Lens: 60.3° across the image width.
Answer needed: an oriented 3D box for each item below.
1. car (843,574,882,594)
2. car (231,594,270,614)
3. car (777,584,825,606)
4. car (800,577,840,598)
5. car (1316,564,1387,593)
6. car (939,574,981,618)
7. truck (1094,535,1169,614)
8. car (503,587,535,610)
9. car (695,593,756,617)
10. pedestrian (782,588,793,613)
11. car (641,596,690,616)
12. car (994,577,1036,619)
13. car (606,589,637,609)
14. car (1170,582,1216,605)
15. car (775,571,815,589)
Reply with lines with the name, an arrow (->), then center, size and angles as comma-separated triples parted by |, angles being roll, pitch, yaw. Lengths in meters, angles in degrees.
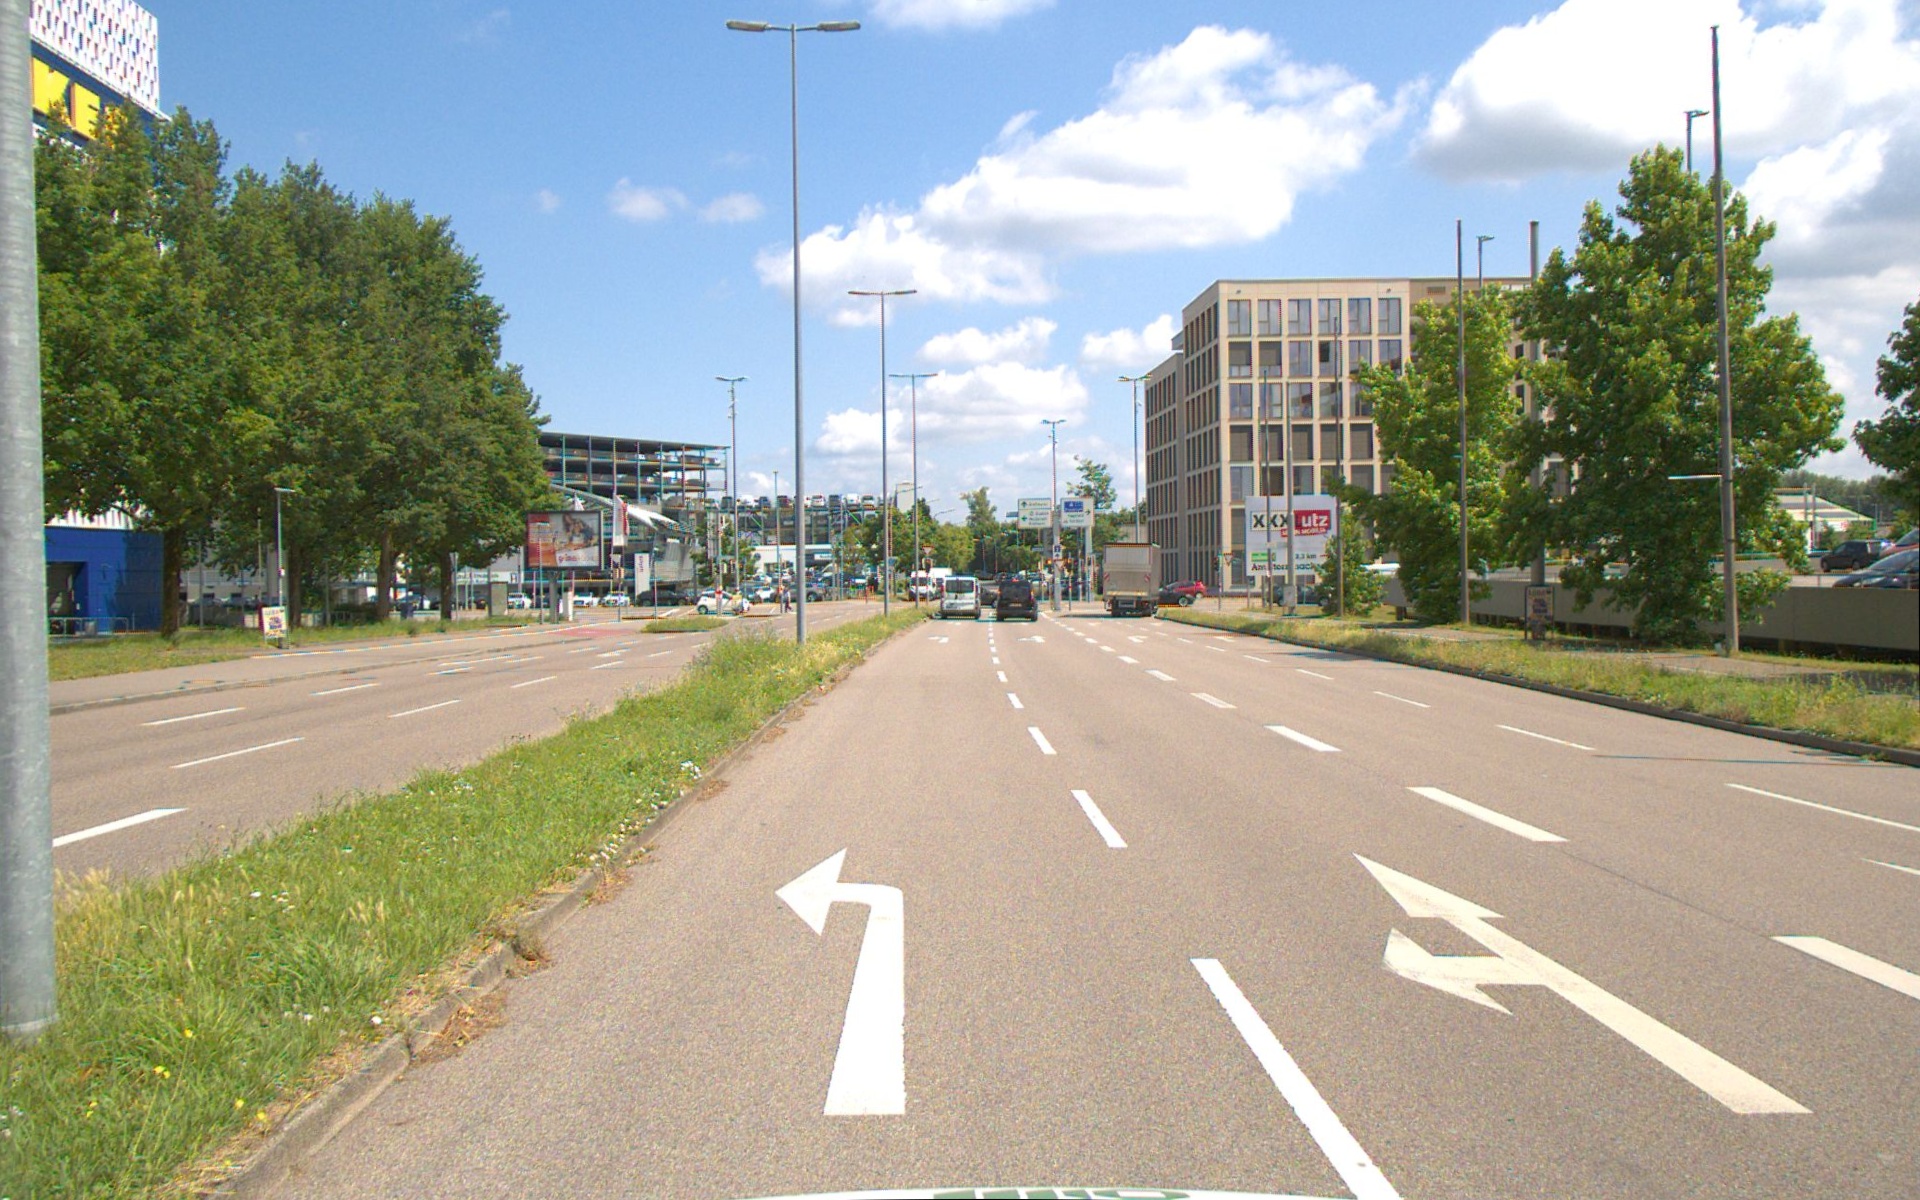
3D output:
car -> -10.025, -1.632, 169.857 | 3.910, 1.959, 1.825 | 0, 0, -6
car -> -56.819, 0.326, 132.465 | 1.693, 1.512, 3.699 | 0, 1, -3
car -> -13.246, -0.398, 138.100 | 3.784, 1.668, 1.857 | -2, 1, -3
car -> -12.620, -1.165, 149.302 | 3.438, 1.742, 1.603 | -2, 1, -3
car -> 31.073, -1.728, 131.430 | 5.379, 2.294, 2.002 | 0, 1, 10
car -> 0.003, -0.230, 79.651 | 1.817, 2.053, 4.002 | 0, 1, 3
truck -> 9.310, -1.411, 88.885 | 3.063, 4.009, 8.867 | 0, 1, 12
car -> -34.762, -0.150, 130.431 | 1.722, 1.689, 3.615 | 0, 1, -3
car -> -15.206, 0.345, 107.404 | 3.775, 1.492, 1.694 | 0, 1, -4
pedestrian -> -10.387, 0.039, 99.820 | 0.460, 1.538, 0.511 | 0, 0, 26
car -> -23.539, 0.462, 132.243 | 3.717, 1.539, 1.678 | 0, 1, -4
car -> 2.516, -0.095, 74.709 | 1.781, 1.840, 4.002 | 0, 1, 4
car -> -26.903, -0.112, 131.544 | 1.740, 1.475, 4.028 | 0, 1, -3
car -> 17.365, -0.489, 123.305 | 3.206, 1.429, 1.335 | 0, 9, -2
car -> -16.847, -2.071, 168.952 | 4.084, 1.742, 1.687 | 1, 1, -5
